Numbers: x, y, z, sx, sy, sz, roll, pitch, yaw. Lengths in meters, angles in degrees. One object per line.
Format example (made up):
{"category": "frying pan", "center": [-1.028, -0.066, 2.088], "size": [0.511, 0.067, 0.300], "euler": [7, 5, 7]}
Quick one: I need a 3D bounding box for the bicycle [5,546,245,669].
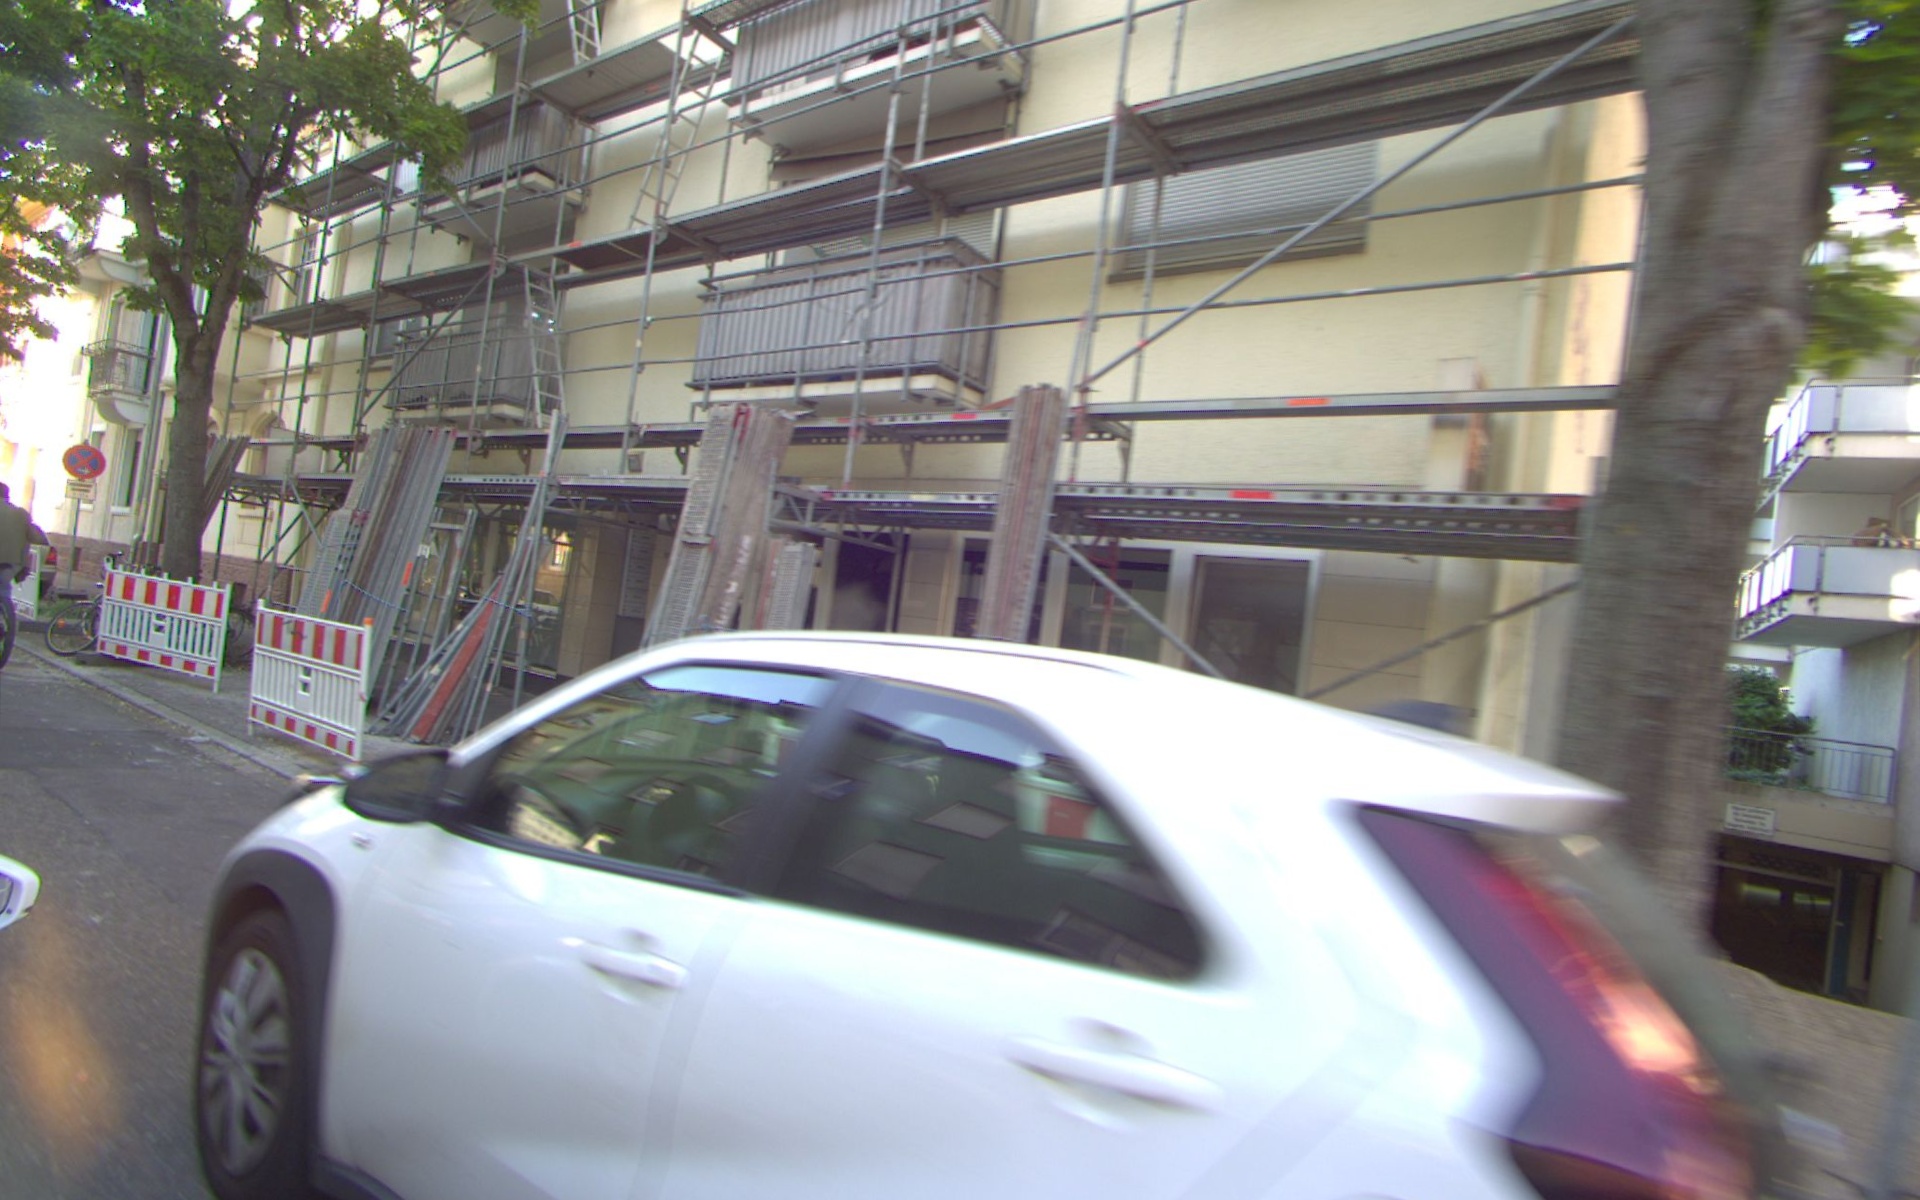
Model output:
{"category": "bicycle", "center": [-9.698, 0.104, 11.789], "size": [1.905, 1.134, 0.744], "euler": [9, -2, -24]}

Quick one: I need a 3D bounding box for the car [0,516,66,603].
{"category": "car", "center": [-18.704, -0.905, 19.083], "size": [4.363, 1.439, 1.680], "euler": [6, -1, 37]}

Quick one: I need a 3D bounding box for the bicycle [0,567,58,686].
{"category": "bicycle", "center": [-9.888, 0.197, 10.127], "size": [1.830, 1.071, 0.740], "euler": [5, -4, 37]}

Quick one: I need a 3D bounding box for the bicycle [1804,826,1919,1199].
{"category": "bicycle", "center": [3.147, 1.414, 2.659], "size": [0.738, 1.170, 1.970], "euler": [6, 1, 23]}

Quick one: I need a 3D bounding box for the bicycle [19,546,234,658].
{"category": "bicycle", "center": [-10.641, 0.051, 12.914], "size": [1.972, 1.134, 0.739], "euler": [10, -3, -43]}

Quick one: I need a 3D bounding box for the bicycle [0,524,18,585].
{"category": "bicycle", "center": [-21.615, -1.101, 21.649], "size": [0.577, 1.320, 1.761], "euler": [6, -2, 35]}

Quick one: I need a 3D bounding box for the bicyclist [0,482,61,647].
{"category": "bicyclist", "center": [-9.832, -0.398, 10.156], "size": [0.966, 1.582, 0.756], "euler": [6, -3, 36]}

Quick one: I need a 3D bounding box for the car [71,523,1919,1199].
{"category": "car", "center": [-0.302, 0.825, 2.302], "size": [3.906, 1.552, 1.804], "euler": [6, -4, 39]}
